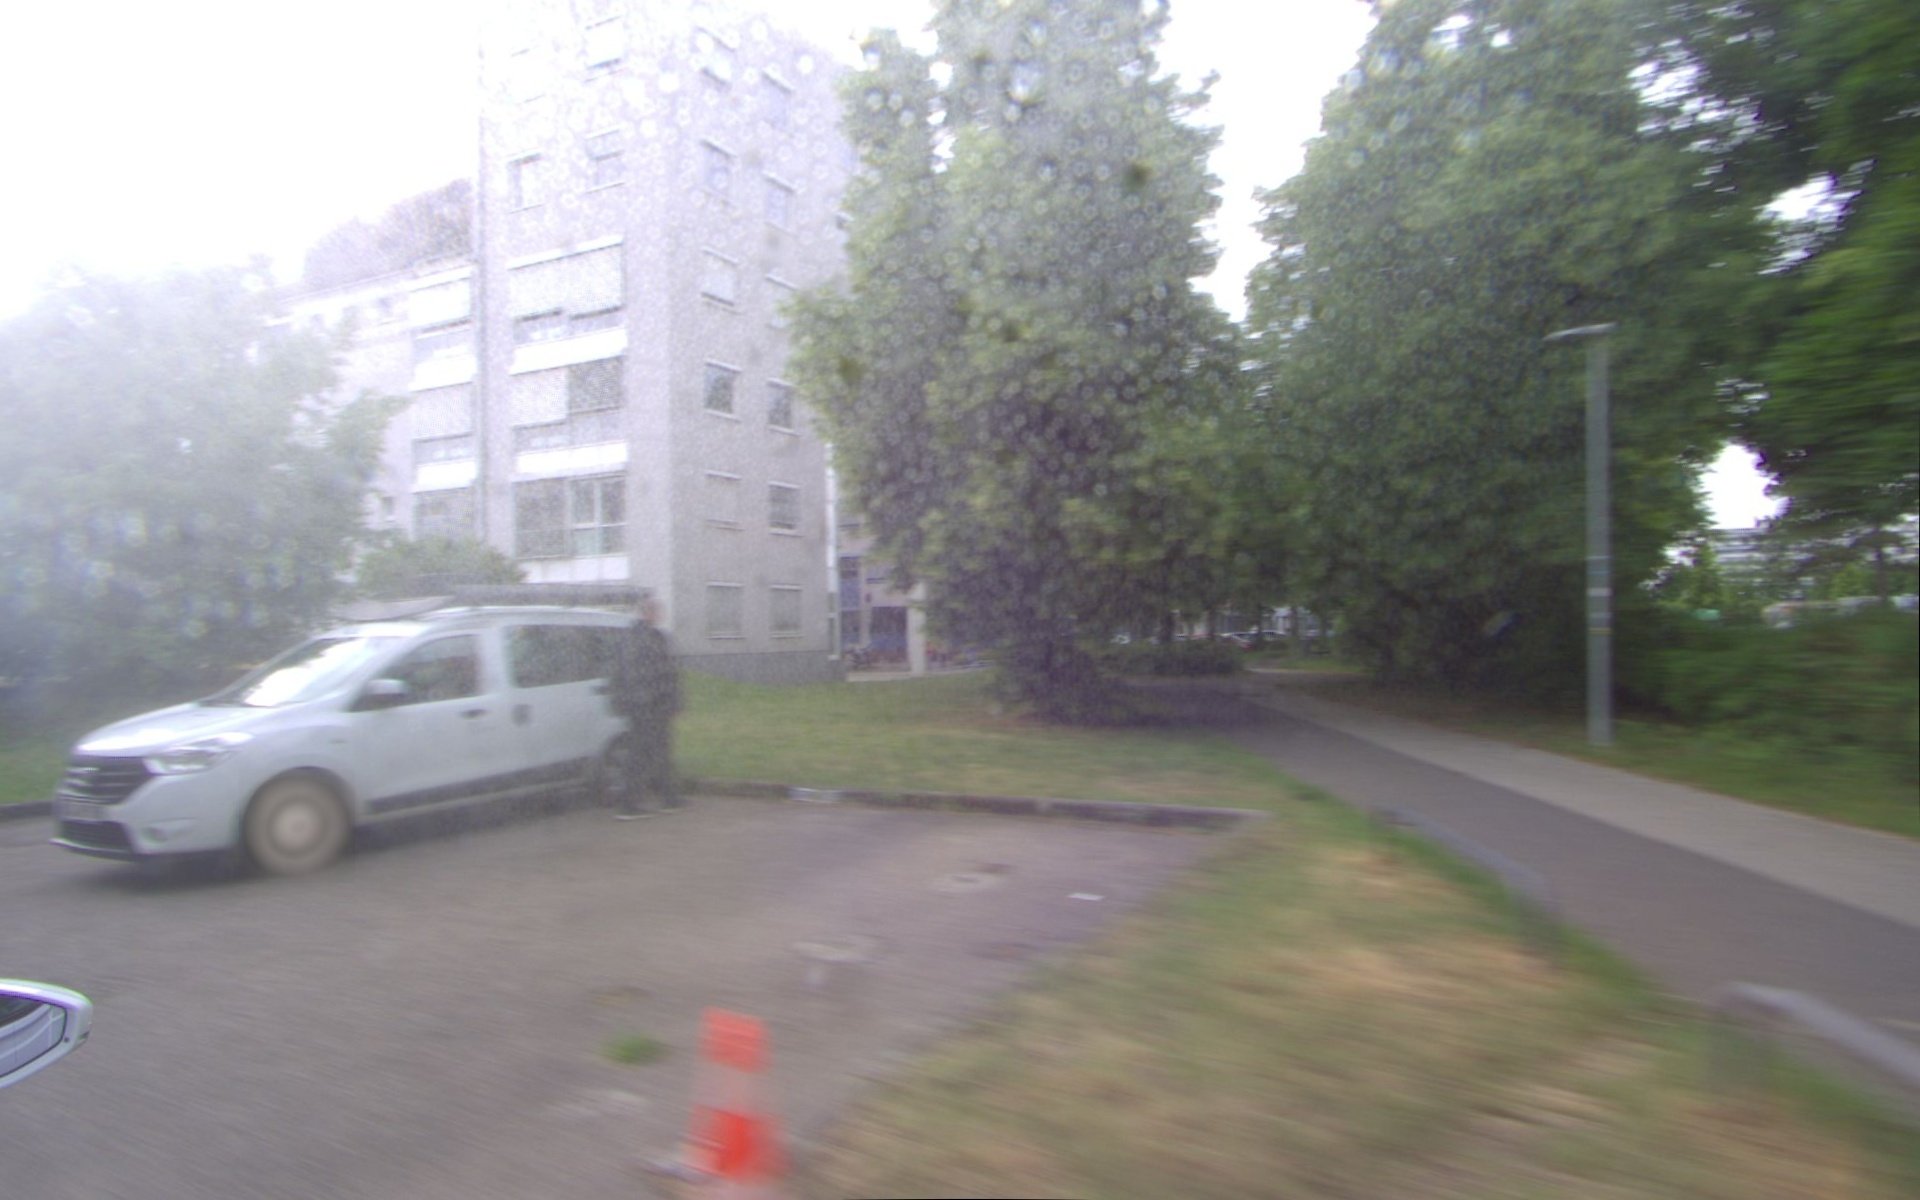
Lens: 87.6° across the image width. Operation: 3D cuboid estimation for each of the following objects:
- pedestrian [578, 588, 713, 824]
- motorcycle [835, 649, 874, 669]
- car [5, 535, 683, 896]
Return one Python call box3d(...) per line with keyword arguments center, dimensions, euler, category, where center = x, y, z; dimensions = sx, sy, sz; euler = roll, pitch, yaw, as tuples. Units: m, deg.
box3d(center=(-2.580, 0.845, 8.257), dimensions=(0.687, 1.832, 0.754), euler=(-3, -1, 26), category="pedestrian")
box3d(center=(-5.281, 2.960, 50.268), dimensions=(0.945, 0.892, 3.191), euler=(0, -2, 14), category="motorcycle")
box3d(center=(-4.422, 0.738, 8.022), dimensions=(1.825, 2.039, 4.338), euler=(-2, -2, 26), category="car")
